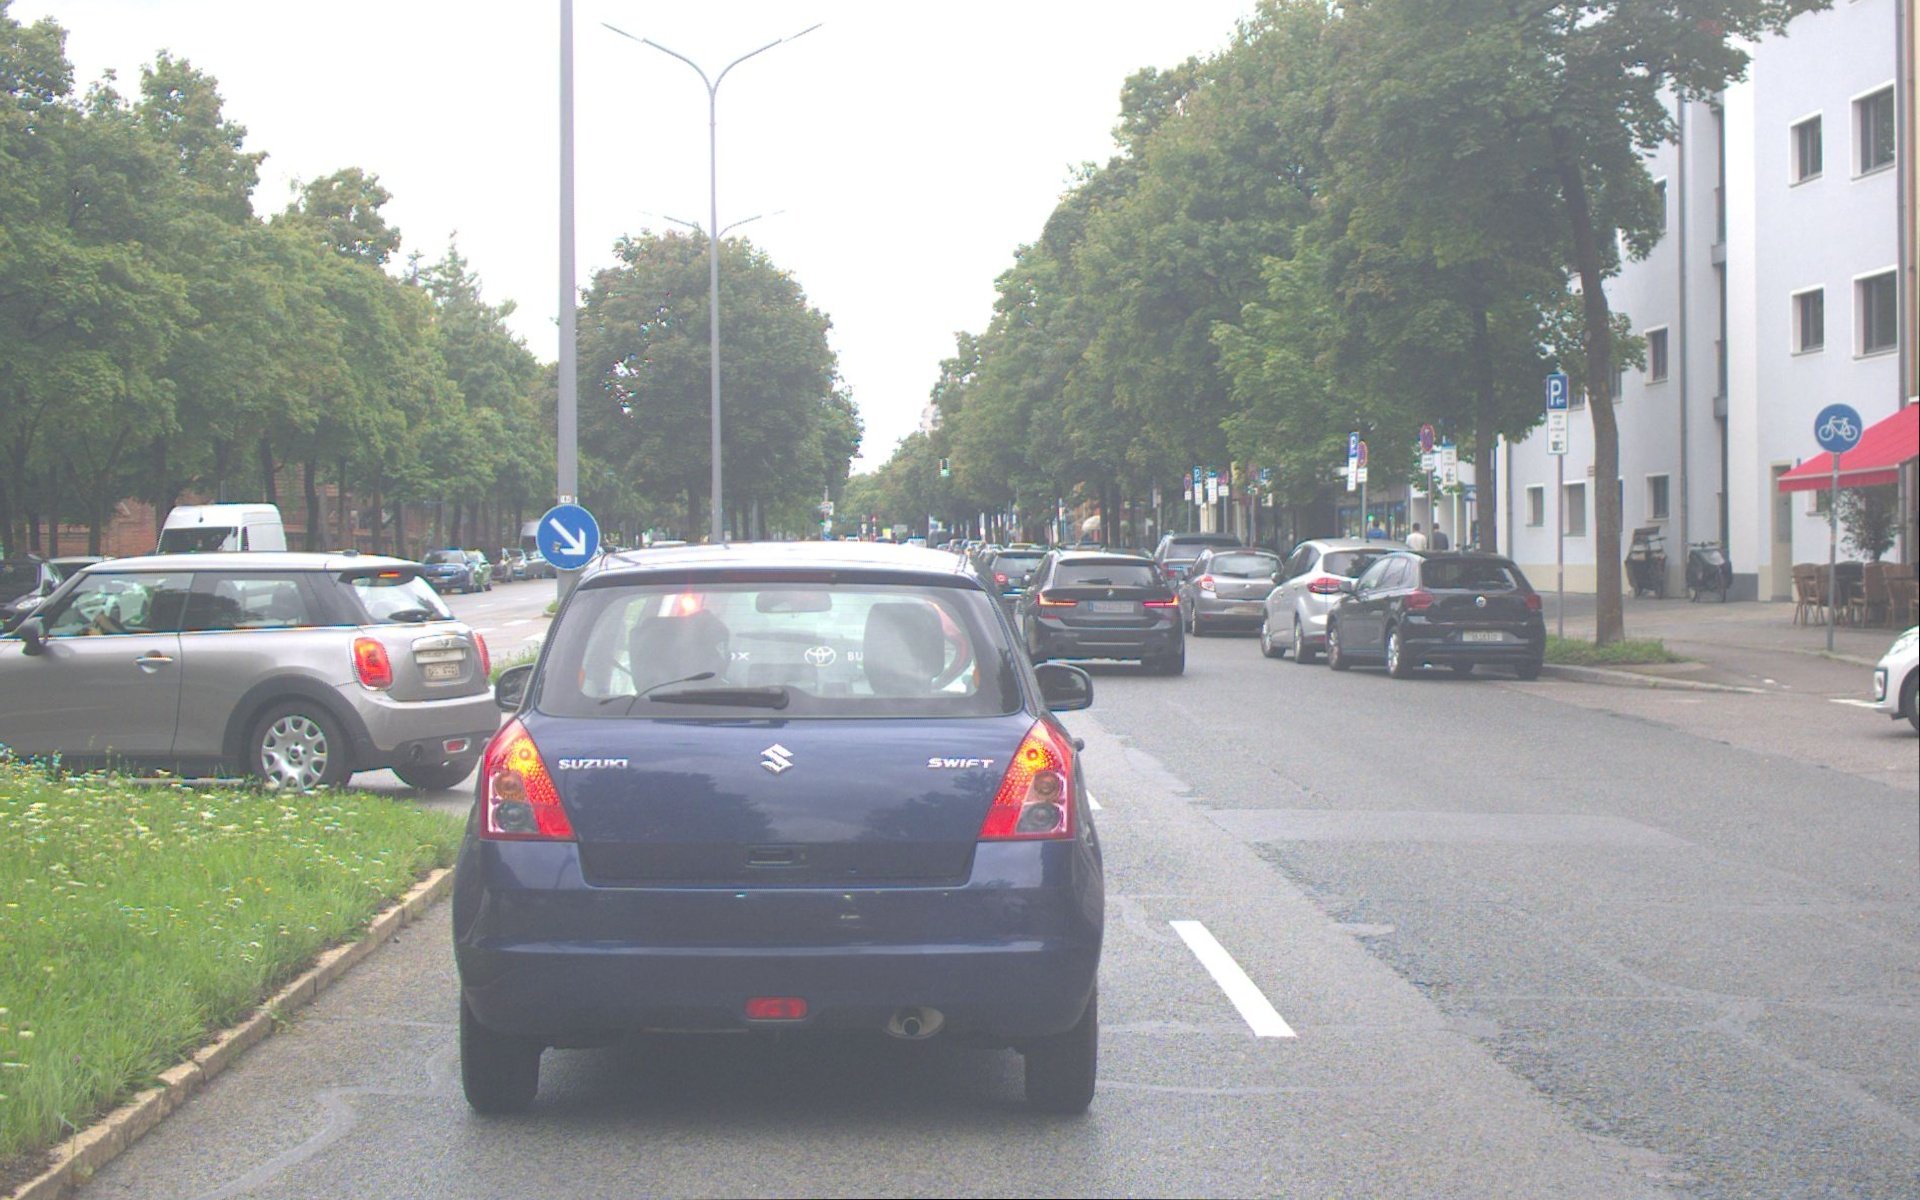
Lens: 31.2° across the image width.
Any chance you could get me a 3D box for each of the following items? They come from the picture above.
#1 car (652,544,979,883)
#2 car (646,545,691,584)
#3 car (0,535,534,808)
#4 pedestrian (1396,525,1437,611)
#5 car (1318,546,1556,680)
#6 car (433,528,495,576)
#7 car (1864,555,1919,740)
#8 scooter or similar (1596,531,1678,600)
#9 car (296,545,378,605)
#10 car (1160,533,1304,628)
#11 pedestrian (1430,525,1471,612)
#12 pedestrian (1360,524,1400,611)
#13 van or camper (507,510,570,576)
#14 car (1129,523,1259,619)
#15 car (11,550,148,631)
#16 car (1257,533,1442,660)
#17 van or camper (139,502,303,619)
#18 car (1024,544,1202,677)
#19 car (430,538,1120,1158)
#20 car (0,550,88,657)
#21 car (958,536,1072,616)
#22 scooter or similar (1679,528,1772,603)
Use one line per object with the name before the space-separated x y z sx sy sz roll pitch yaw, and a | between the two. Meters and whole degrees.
car | -0.699 0.477 16.754 1.444 1.478 3.107 0 1 -2
car | -12.040 -1.478 142.186 1.632 1.547 3.879 1 1 -2
car | -4.532 0.361 19.987 3.725 1.458 1.686 1 1 20
pedestrian | 10.651 -0.754 80.261 0.794 2.007 1.006 0 1 -1
car | 5.461 0.109 39.867 1.865 1.412 4.225 -1 1 -4
car | -16.727 -1.624 116.011 1.632 1.577 3.879 1 1 -2
car | 9.067 0.361 26.834 3.554 1.412 1.869 0 1 28
scooter or similar | 13.091 -0.690 66.564 1.033 1.303 2.755 0 1 -1
car | -16.820 -0.697 92.991 1.632 1.577 3.879 1 1 -2
car | 4.534 -0.359 57.891 1.865 1.512 4.225 -1 1 -3
pedestrian | 11.473 -0.747 80.432 0.794 2.007 1.006 0 1 -1
pedestrian | 9.809 -0.763 80.247 0.794 2.007 1.006 0 1 -1
van or camper | -21.308 -2.878 174.142 2.561 3.284 6.938 1 1 -2
car | 4.233 -0.558 62.711 1.865 1.677 4.225 -1 1 -3
car | -16.167 -0.192 63.289 1.632 1.426 3.879 1 1 -2
car | 5.052 -0.083 45.047 1.791 1.553 4.225 -1 1 -2
van or camper | -16.570 -0.895 77.460 2.117 2.473 7.449 1 1 0
car | 1.733 0.082 40.223 1.758 1.408 4.463 1 1 -1
car | -0.529 0.569 10.354 1.682 1.496 3.919 0 1 -2
car | -15.949 0.026 57.959 1.632 1.735 3.879 1 1 -2
car | 1.007 -0.485 65.248 1.731 1.427 4.443 1 1 -4
scooter or similar | 13.686 -0.628 61.552 1.033 1.303 2.755 0 1 -1
